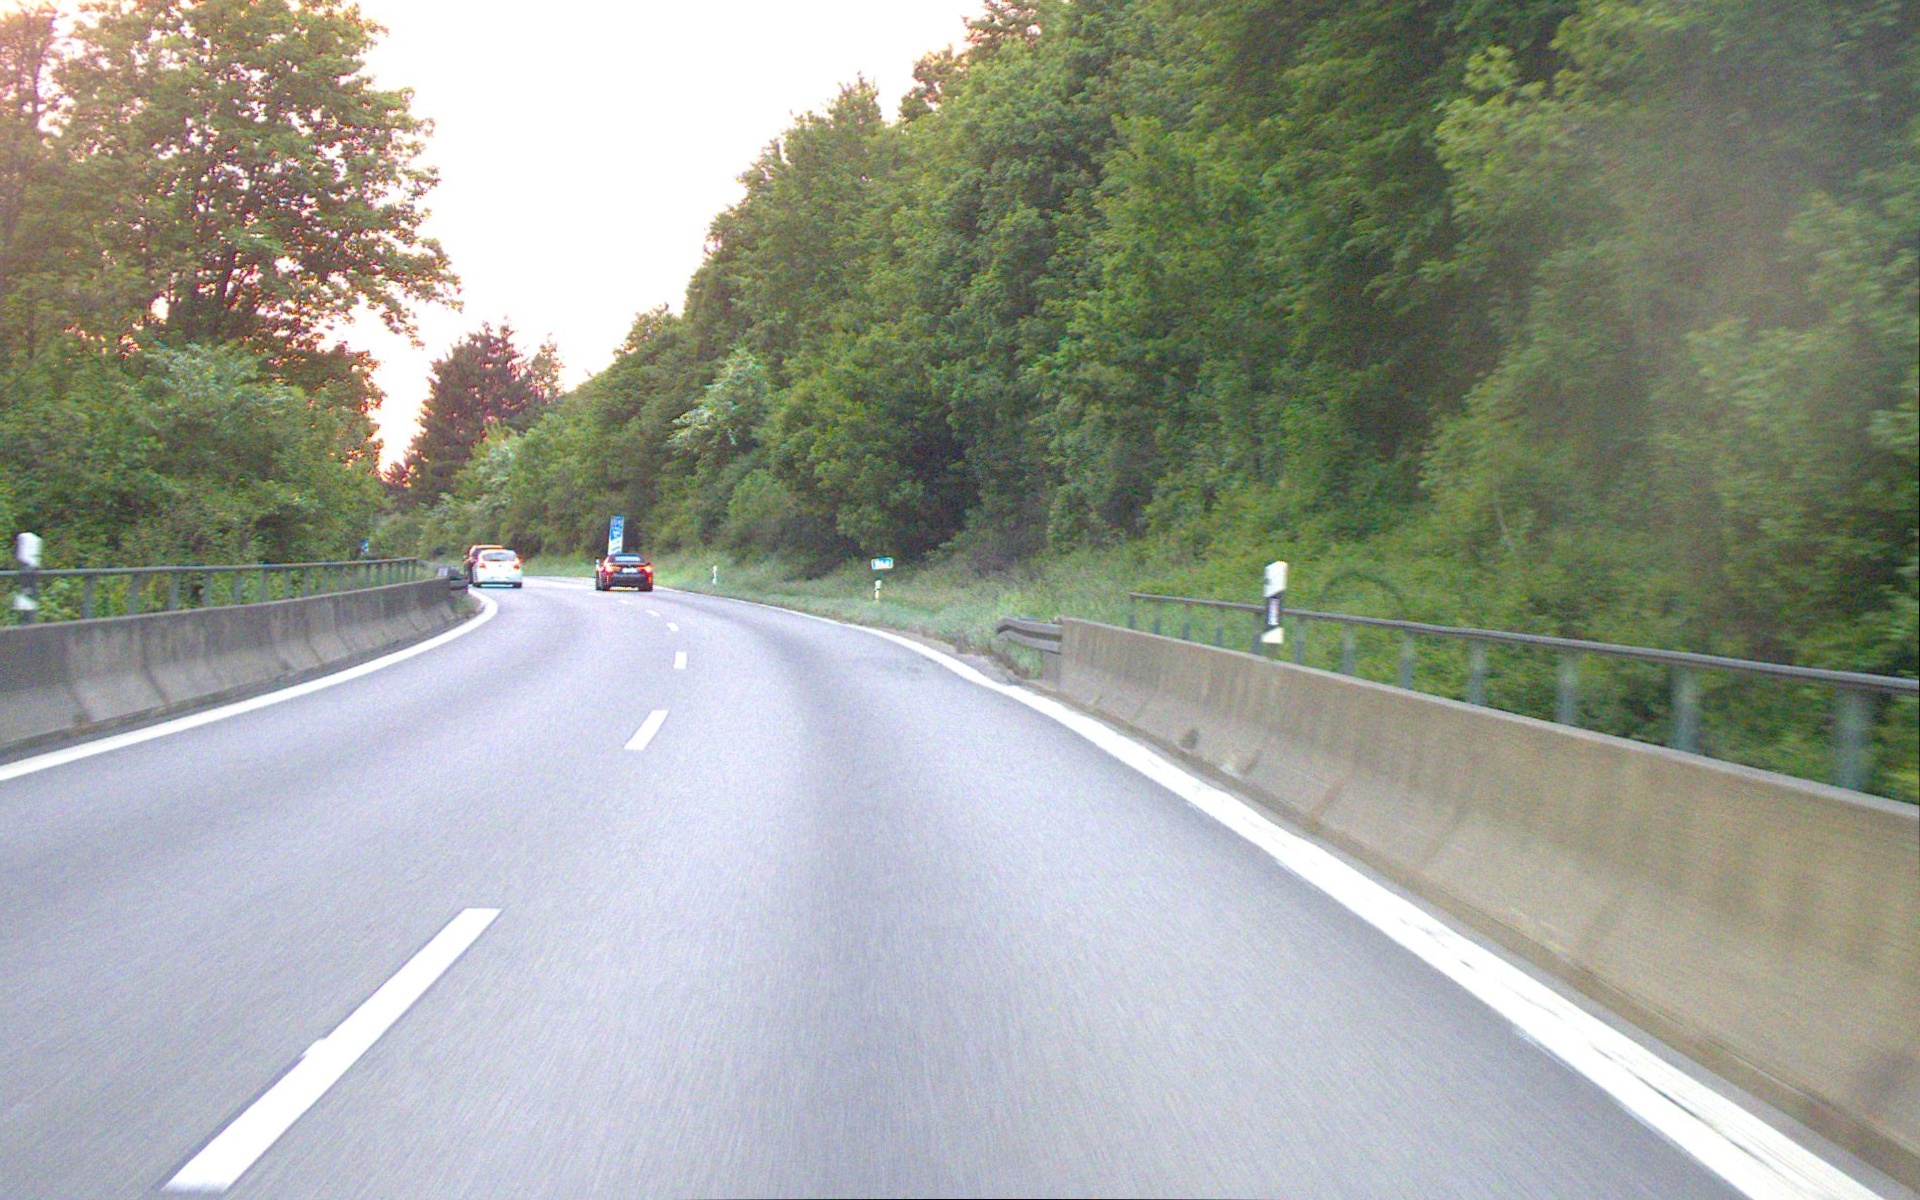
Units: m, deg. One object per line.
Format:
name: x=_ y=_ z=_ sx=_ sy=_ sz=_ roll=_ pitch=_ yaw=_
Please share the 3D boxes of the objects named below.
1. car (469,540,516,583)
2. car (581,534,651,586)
car: x=-18.054 y=-1.486 z=132.967 sx=1.718 sy=1.496 sz=4.001 roll=2 pitch=-1 yaw=-7
car: x=-12.910 y=-1.483 z=128.850 sx=1.993 sy=1.640 sz=4.001 roll=4 pitch=-3 yaw=-14
